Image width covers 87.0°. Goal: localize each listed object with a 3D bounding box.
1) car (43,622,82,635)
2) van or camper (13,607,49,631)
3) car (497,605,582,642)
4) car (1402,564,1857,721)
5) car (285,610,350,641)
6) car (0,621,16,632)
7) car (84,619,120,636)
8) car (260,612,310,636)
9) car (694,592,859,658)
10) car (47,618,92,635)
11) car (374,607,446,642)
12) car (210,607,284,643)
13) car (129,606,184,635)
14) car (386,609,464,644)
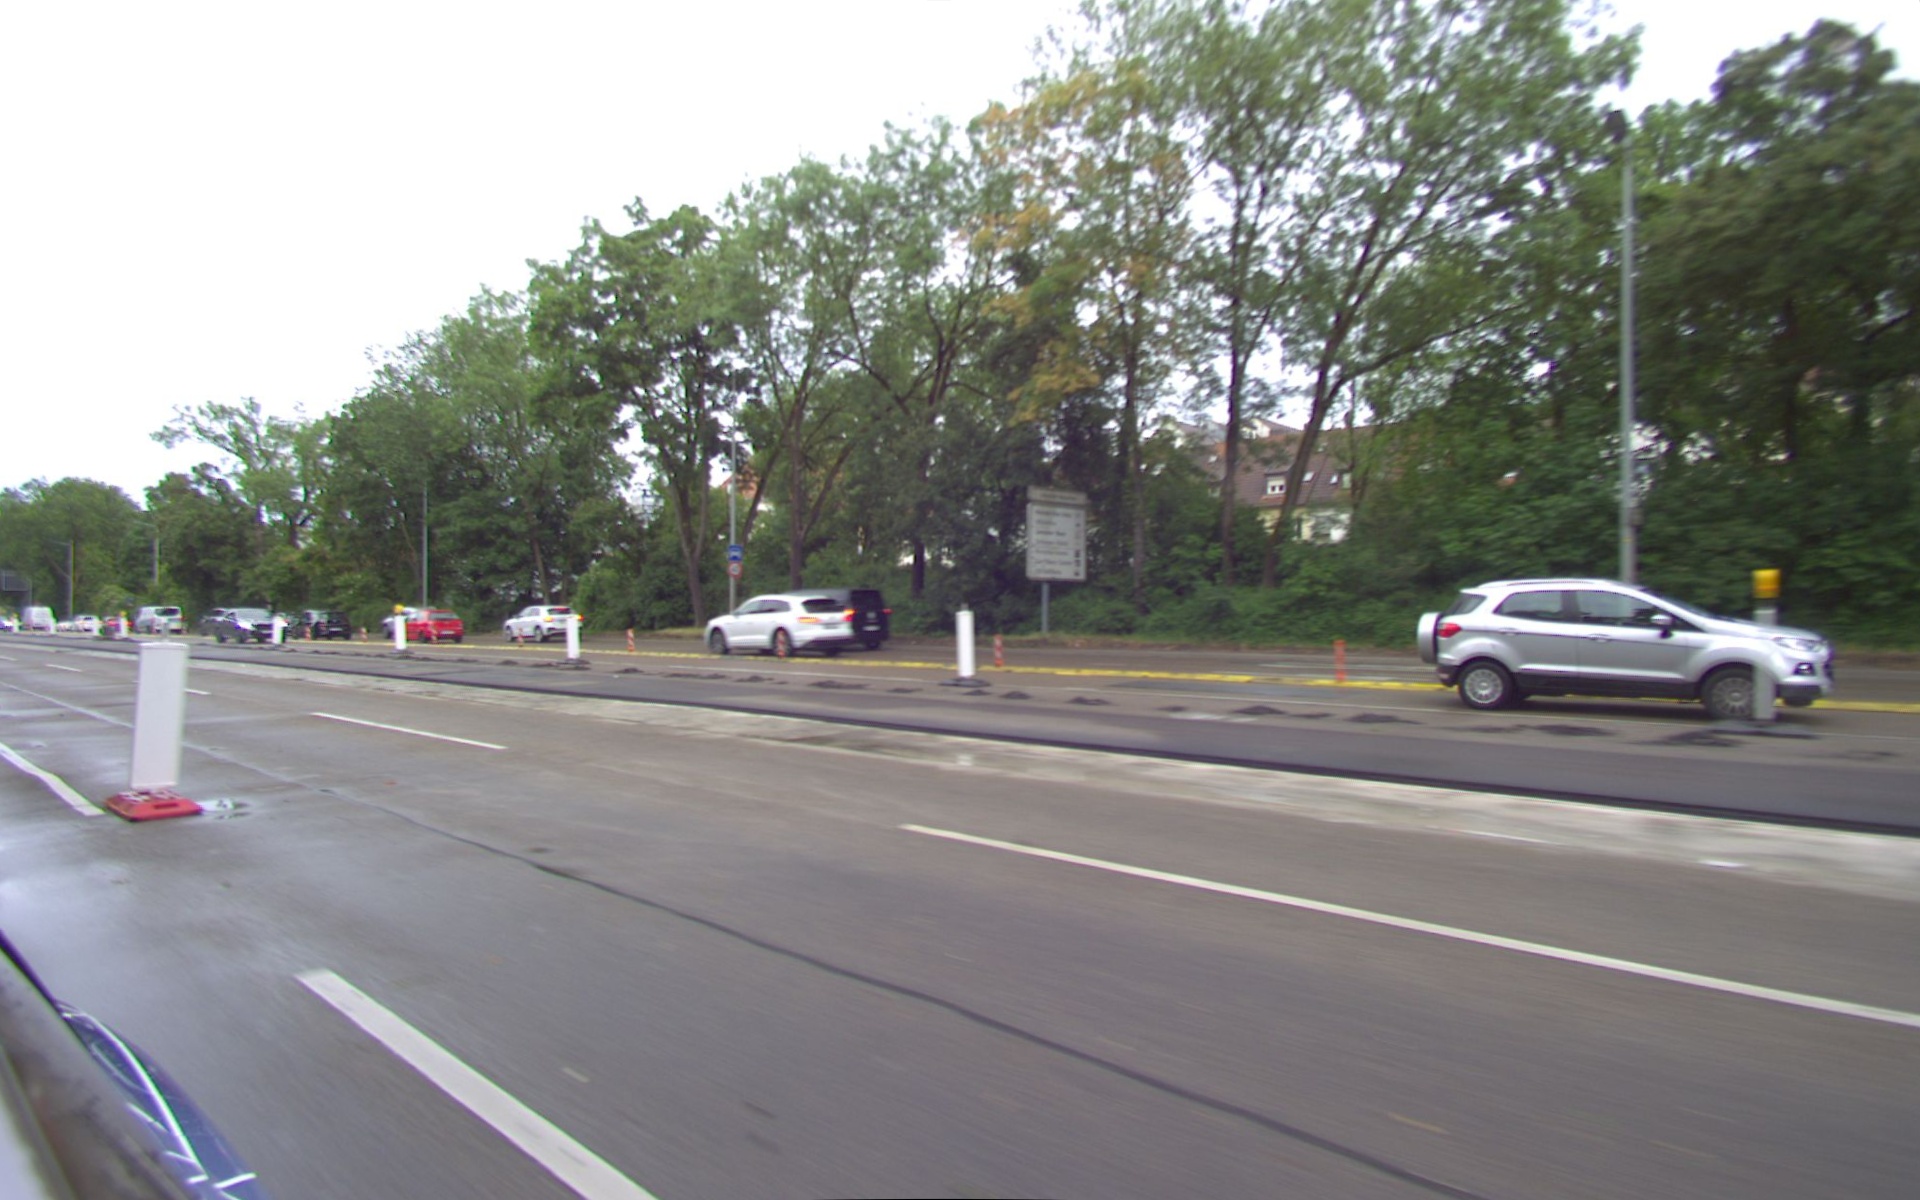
[{"bbox_3d":[-91.590,2.917,103.285,3.982,1.192,1.678,-1,1,28],"label":"car"},{"bbox_3d":[-105.472,2.146,114.870,7.723,2.574,1.974,-1,1,40],"label":"van or camper"},{"bbox_3d":[-17.793,1.006,42.749,4.147,1.508,1.661,-1,-2,41],"label":"car"},{"bbox_3d":[7.976,0.444,12.341,4.364,1.576,1.868,-1,0,43],"label":"car"},{"bbox_3d":[-32.997,1.300,51.936,4.195,1.499,1.758,-1,0,42],"label":"car"},{"bbox_3d":[-115.013,3.158,121.725,4.078,1.375,1.698,-1,-2,40],"label":"car"},{"bbox_3d":[-77.638,2.439,91.585,4.482,1.487,1.712,-1,-1,39],"label":"car"},{"bbox_3d":[-42.336,1.509,63.432,3.998,1.431,1.628,-1,0,41],"label":"car"},{"bbox_3d":[-5.178,0.673,28.156,4.890,1.674,1.870,-1,0,41],"label":"car"},{"bbox_3d":[-75.427,2.214,85.696,4.385,1.426,1.975,-1,-2,37],"label":"car"},{"bbox_3d":[-27.896,1.222,51.262,4.415,1.639,1.685,-1,0,40],"label":"car"},{"bbox_3d":[-34.664,1.204,49.175,4.811,1.641,1.972,-1,0,43],"label":"car"},{"bbox_3d":[-57.097,1.462,71.899,4.896,1.987,1.974,-1,0,38],"label":"car"},{"bbox_3d":[-23.065,1.123,43.587,4.010,1.411,1.662,-1,0,41],"label":"car"}]
